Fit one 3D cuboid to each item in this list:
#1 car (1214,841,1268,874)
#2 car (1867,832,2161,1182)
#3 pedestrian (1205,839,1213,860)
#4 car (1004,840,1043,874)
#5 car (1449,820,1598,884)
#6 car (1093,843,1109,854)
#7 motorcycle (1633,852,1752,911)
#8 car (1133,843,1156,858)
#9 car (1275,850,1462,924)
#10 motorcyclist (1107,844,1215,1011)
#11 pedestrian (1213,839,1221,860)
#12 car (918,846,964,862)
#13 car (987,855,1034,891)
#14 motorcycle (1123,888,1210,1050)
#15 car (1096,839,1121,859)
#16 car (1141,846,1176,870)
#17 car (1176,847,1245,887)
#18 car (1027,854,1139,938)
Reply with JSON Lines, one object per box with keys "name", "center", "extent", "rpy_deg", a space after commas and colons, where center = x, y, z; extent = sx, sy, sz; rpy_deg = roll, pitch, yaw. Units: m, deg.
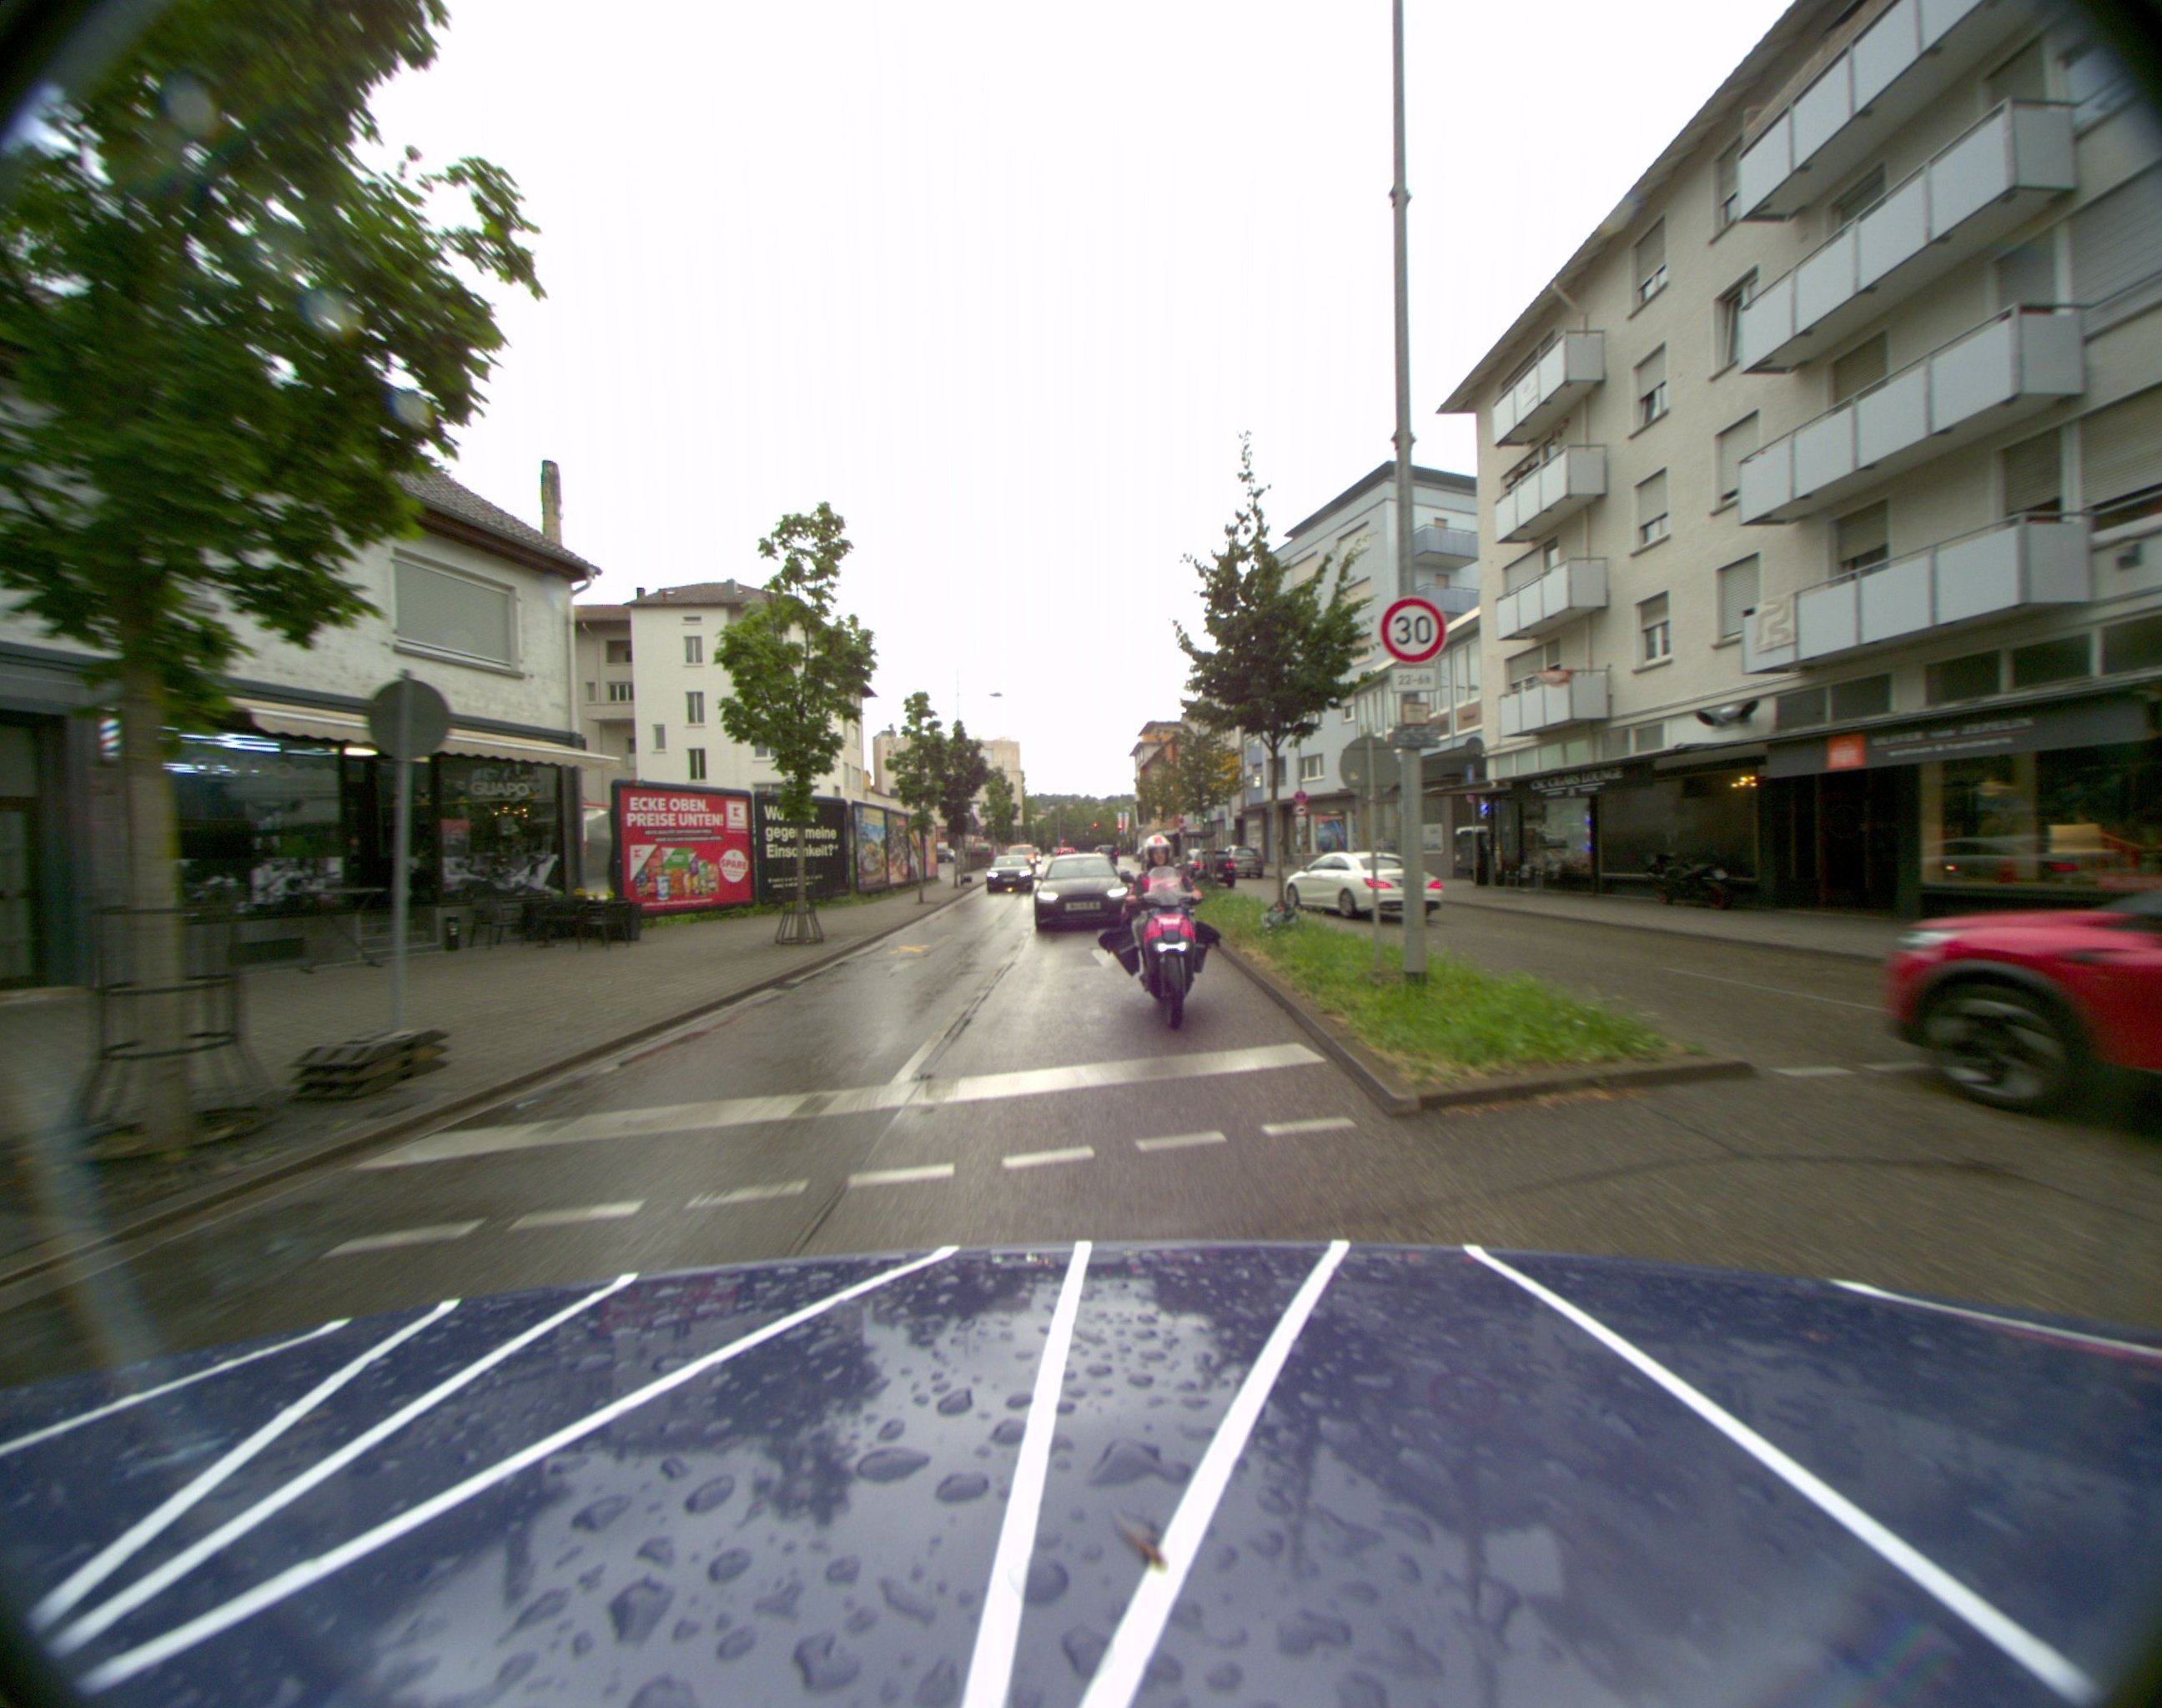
{"name": "car", "center": [8.103, 0.167, 38.876], "extent": [1.777, 1.580, 4.025], "rpy_deg": [1, 0, -2]}
{"name": "car", "center": [5.841, 0.700, 2.673], "extent": [1.852, 1.585, 4.089], "rpy_deg": [0, 1, -1]}
{"name": "pedestrian", "center": [10.534, -0.398, 62.634], "extent": [0.527, 1.679, 0.531], "rpy_deg": [0, 3, -1]}
{"name": "car", "center": [-3.826, 0.143, 51.508], "extent": [2.198, 2.074, 5.931], "rpy_deg": [-2, 2, 0]}
{"name": "car", "center": [15.021, -0.074, 25.960], "extent": [3.997, 2.043, 1.894], "rpy_deg": [-1, 1, 0]}
{"name": "car", "center": [2.666, -0.743, 103.253], "extent": [1.909, 1.471, 3.998], "rpy_deg": [1, 1, -2]}
{"name": "motorcycle", "center": [12.859, 0.548, 16.084], "extent": [0.670, 1.081, 2.195], "rpy_deg": [-3, 2, -2]}
{"name": "car", "center": [6.467, -0.378, 78.160], "extent": [1.852, 1.473, 4.200], "rpy_deg": [1, 1, -2]}
{"name": "car", "center": [6.138, 0.636, 16.928], "extent": [1.851, 1.409, 4.611], "rpy_deg": [1, 0, -9]}
{"name": "motorcyclist", "center": [0.739, 0.669, 7.314], "extent": [0.917, 1.484, 0.864], "rpy_deg": [-2, 0, 2]}
{"name": "pedestrian", "center": [11.204, -0.383, 62.624], "extent": [0.513, 1.679, 0.531], "rpy_deg": [0, 3, -1]}
{"name": "car", "center": [-14.487, 0.013, 78.521], "extent": [4.253, 1.566, 1.941], "rpy_deg": [-1, -2, -38]}
{"name": "car", "center": [-2.925, 0.755, 31.941], "extent": [1.812, 1.332, 4.275], "rpy_deg": [-1, 1, -4]}
{"name": "motorcycle", "center": [0.754, 0.980, 7.204], "extent": [0.588, 1.184, 2.102], "rpy_deg": [-3, 0, 2]}
{"name": "car", "center": [2.338, -0.395, 64.425], "extent": [1.777, 1.634, 3.839], "rpy_deg": [1, 0, -3]}
{"name": "car", "center": [4.810, 0.211, 47.609], "extent": [1.703, 1.433, 3.839], "rpy_deg": [1, 0, -2]}
{"name": "car", "center": [4.932, 0.456, 29.437], "extent": [1.822, 1.433, 4.156], "rpy_deg": [1, 0, -2]}
{"name": "car", "center": [0.017, 0.797, 17.108], "extent": [2.040, 1.379, 5.292], "rpy_deg": [-5, 1, 0]}
